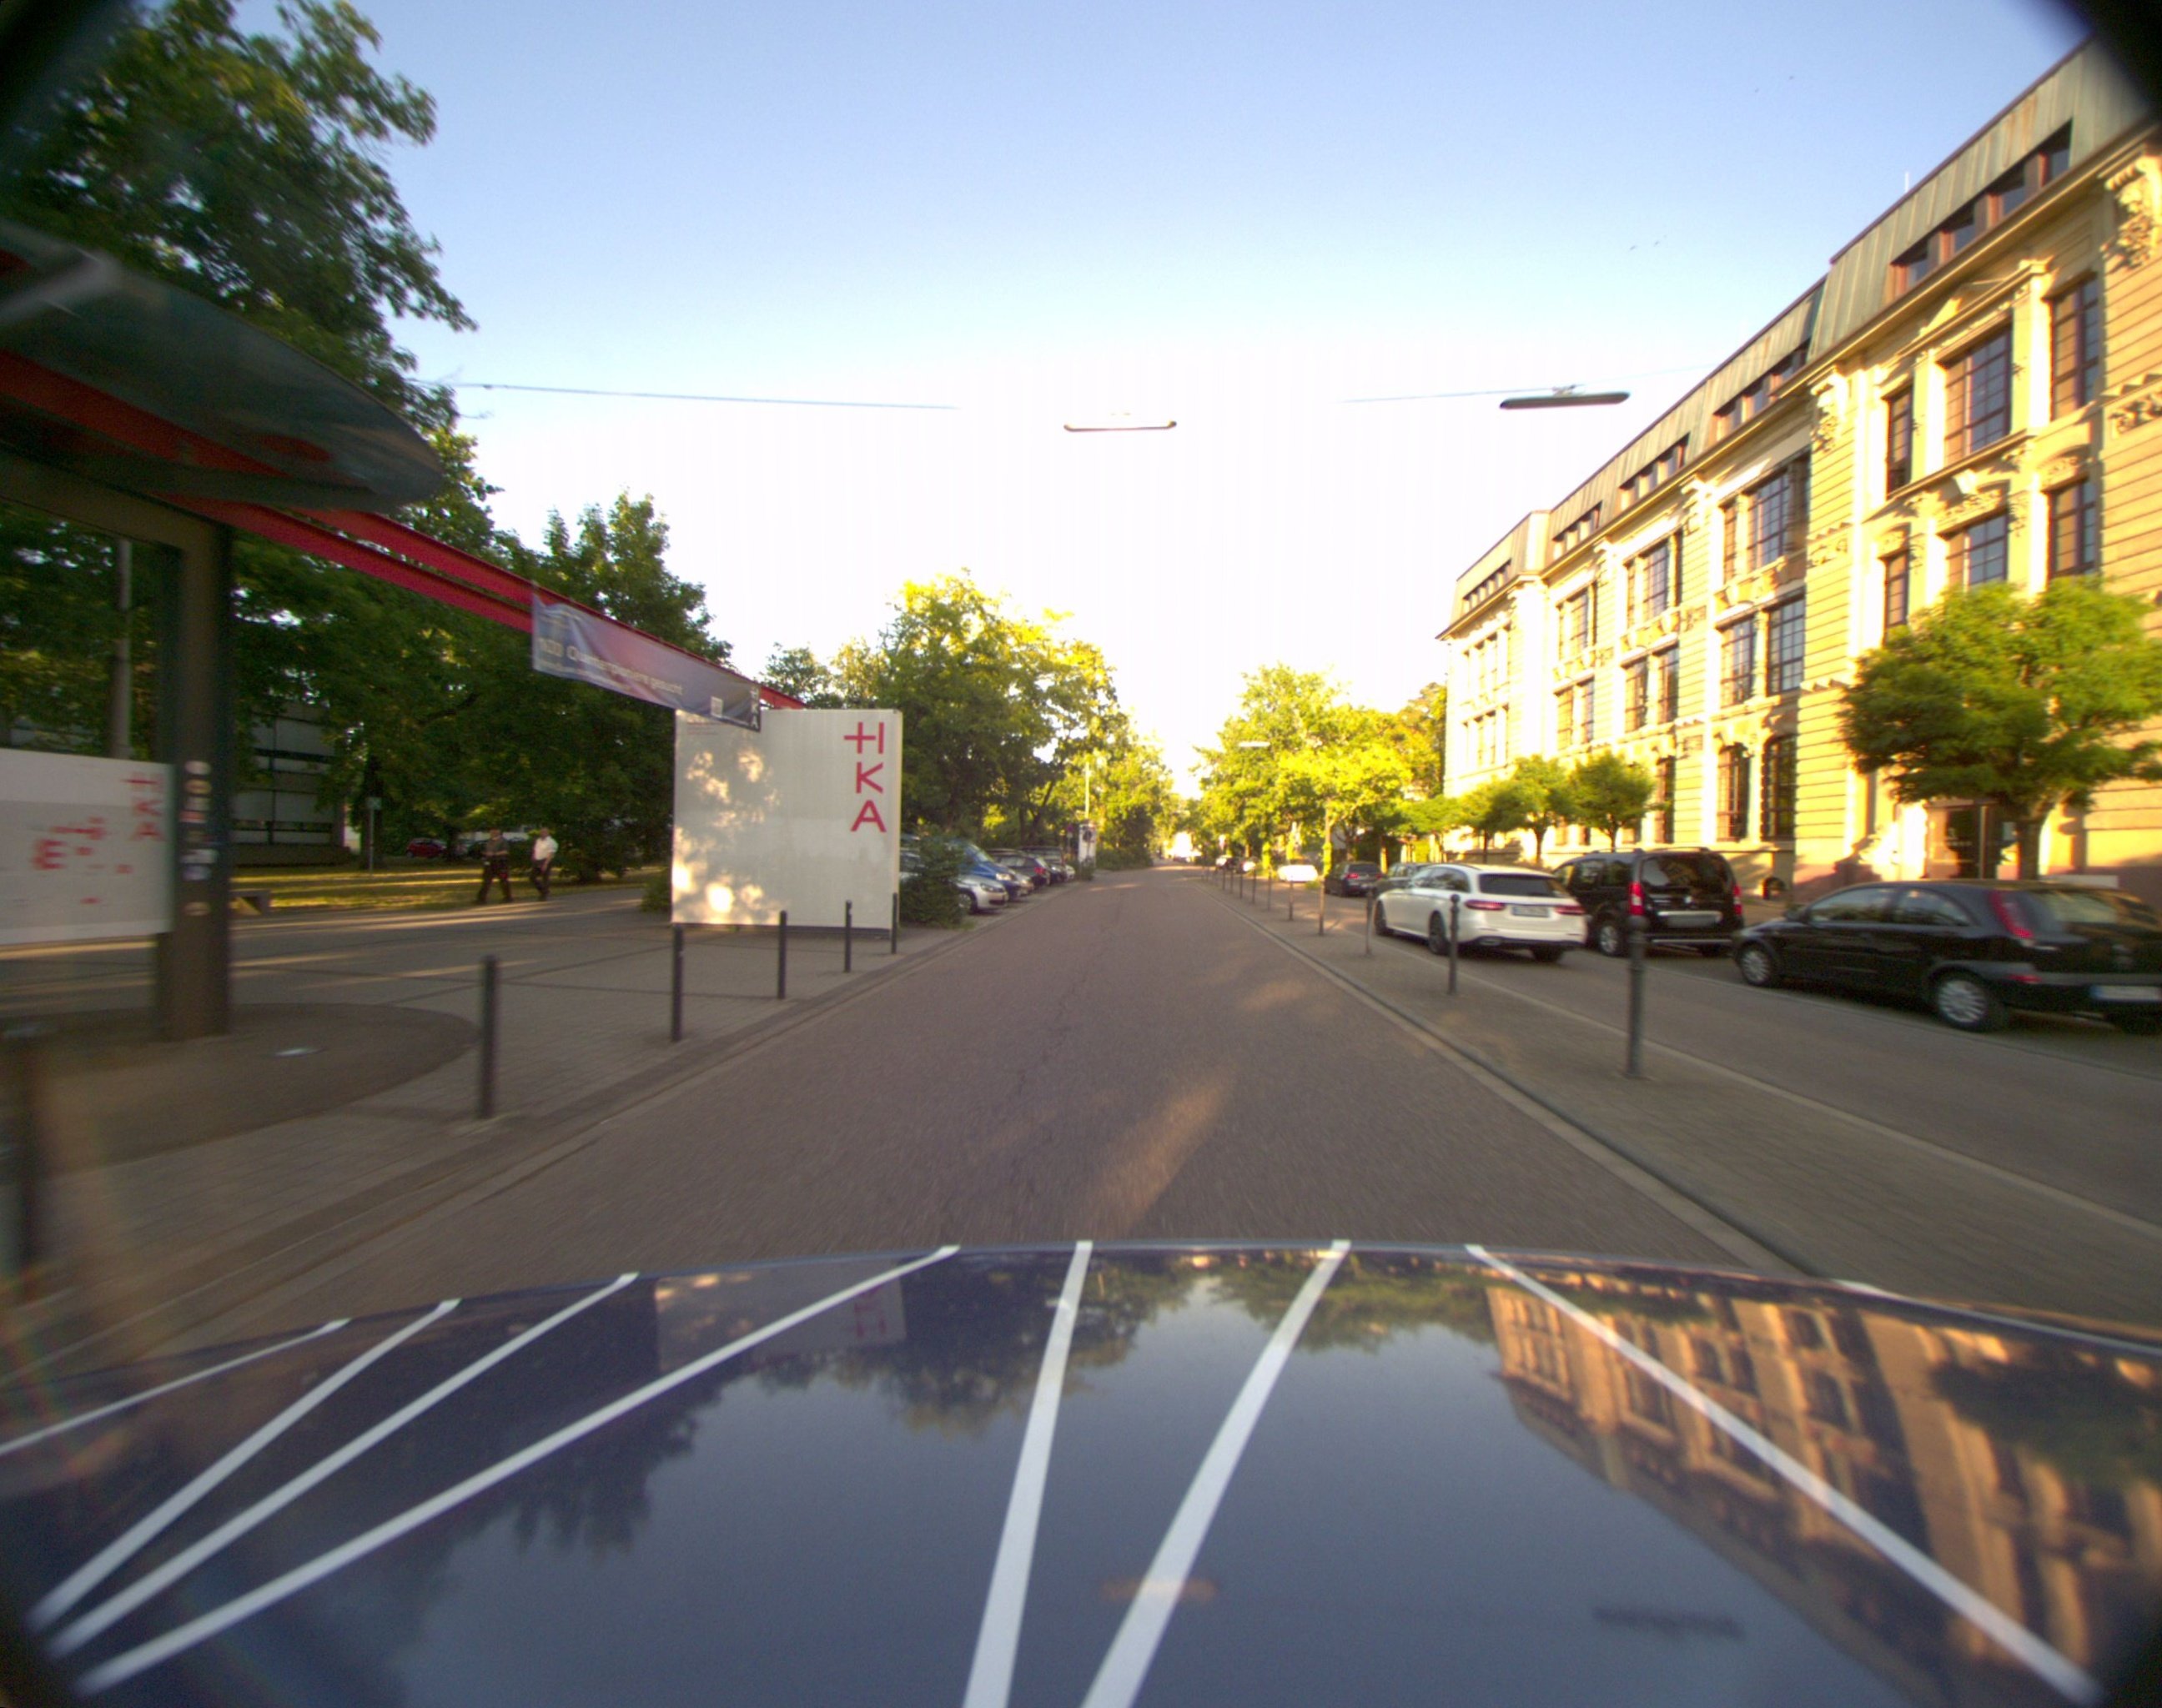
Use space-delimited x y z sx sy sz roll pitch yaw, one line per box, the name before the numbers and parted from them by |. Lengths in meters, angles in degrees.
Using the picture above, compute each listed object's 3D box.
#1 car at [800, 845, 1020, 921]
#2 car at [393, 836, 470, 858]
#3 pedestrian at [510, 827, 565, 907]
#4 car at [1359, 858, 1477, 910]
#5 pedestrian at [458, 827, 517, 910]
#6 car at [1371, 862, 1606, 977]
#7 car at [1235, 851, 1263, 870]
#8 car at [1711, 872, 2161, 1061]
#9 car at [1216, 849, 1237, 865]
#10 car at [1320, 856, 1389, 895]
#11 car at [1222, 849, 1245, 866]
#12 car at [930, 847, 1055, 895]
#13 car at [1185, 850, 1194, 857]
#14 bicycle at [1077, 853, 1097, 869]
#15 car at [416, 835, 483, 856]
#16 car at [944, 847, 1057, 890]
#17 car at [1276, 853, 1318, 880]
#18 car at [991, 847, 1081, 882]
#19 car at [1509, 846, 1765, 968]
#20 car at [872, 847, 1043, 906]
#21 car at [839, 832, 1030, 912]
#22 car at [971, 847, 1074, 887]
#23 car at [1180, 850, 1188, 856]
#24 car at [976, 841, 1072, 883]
car | -4.140 0.673 18.903 4.937 1.545 1.916 3 1 4
car | -44.993 -0.505 52.673 3.995 1.468 1.737 1 1 5
pedestrian | -12.326 0.281 17.250 0.665 1.762 0.786 1 0 1
car | 10.784 0.902 24.686 1.723 1.487 4.375 0 1 -3
pedestrian | -12.974 0.307 16.639 0.648 1.762 0.790 0 1 1
car | 6.543 0.929 12.885 1.744 1.450 4.625 1 1 4
car | 14.265 0.499 64.734 1.806 1.502 4.864 0 1 6
car | 9.215 1.006 8.354 1.700 1.462 3.856 -1 1 7
car | 16.037 0.321 83.769 1.807 1.607 4.148 1 1 5
car | 11.288 0.837 31.640 1.621 1.487 4.378 0 1 5
car | 15.127 0.299 75.334 1.783 1.607 4.148 0 1 5
car | -3.287 0.602 28.779 4.372 1.528 1.921 3 1 4
car | 22.904 -0.035 160.735 1.775 1.474 4.110 0 0 5
bicycle | 0.473 0.558 57.690 0.492 1.141 2.289 5 1 25
car | -50.610 -0.654 60.946 3.766 1.598 2.001 1 1 5
car | -3.316 0.593 31.809 4.372 1.528 1.921 3 1 4
car | 12.555 0.699 44.428 1.621 1.487 3.925 0 1 5
car | -2.304 0.506 39.502 4.372 1.545 1.728 3 1 4
car | 9.768 0.815 13.864 1.781 1.855 4.334 -1 0 5
car | -3.824 0.663 24.013 4.937 1.545 1.916 3 1 4
car | -4.034 0.459 21.376 4.862 1.905 1.916 3 1 4
car | -2.592 0.551 34.444 4.372 1.545 1.876 3 1 4
car | 25.737 -0.205 190.402 1.775 1.559 4.110 0 0 5
car | -2.730 0.384 37.279 4.372 1.770 1.921 3 1 4
